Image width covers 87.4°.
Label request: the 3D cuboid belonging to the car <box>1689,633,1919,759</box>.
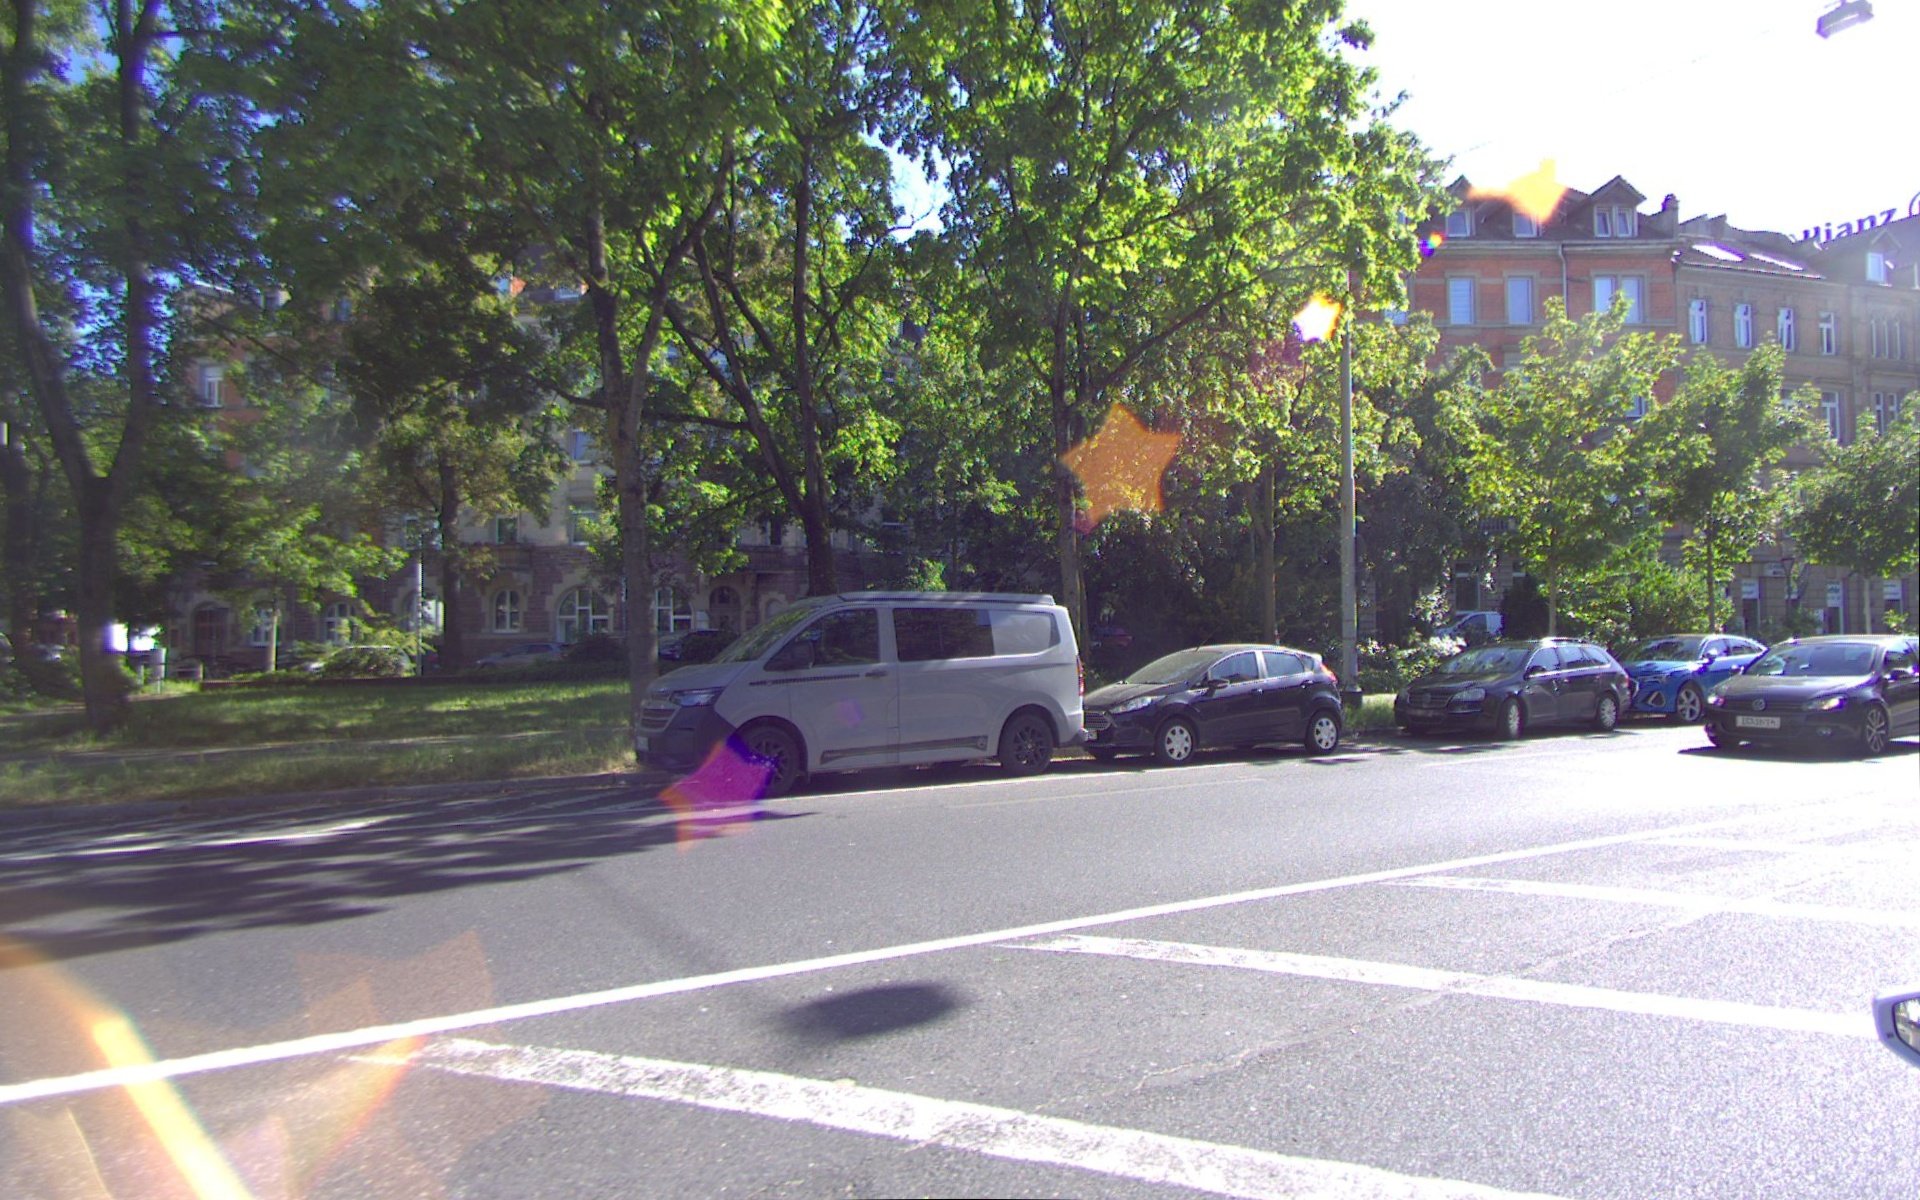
[{"bbox_3d":[11.817,1.199,13.505,4.080,1.469,1.587,1,-3,-27],"label":"car"}]

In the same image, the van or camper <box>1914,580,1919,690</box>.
[{"bbox_3d":[27.500,0.877,25.966,6.010,2.775,2.208,1,-2,-27],"label":"van or camper"}]

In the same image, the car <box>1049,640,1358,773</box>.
[{"bbox_3d":[3.209,1.317,13.124,3.908,1.521,1.459,1,-4,-27],"label":"car"}]

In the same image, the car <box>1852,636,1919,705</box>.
[{"bbox_3d":[22.516,1.555,22.878,4.604,1.475,1.688,1,-4,-27],"label":"car"}]

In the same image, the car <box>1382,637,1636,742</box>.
[{"bbox_3d":[8.815,1.379,16.050,4.222,1.501,1.583,2,-4,-31],"label":"car"}]

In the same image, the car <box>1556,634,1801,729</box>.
[{"bbox_3d":[13.362,1.427,18.645,4.498,1.558,1.775,1,-2,-26],"label":"car"}]

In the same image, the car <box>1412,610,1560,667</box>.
[{"bbox_3d":[18.908,1.402,36.229,4.365,1.938,1.865,1,-4,-3],"label":"car"}]

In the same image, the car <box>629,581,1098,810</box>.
[{"bbox_3d":[-0.998,0.969,11.201,4.819,2.062,1.974,1,-5,-31],"label":"car"}]

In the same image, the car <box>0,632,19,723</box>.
[{"bbox_3d":[-26.260,1.917,24.168,4.854,2.275,1.882,1,-3,-27],"label":"car"}]
